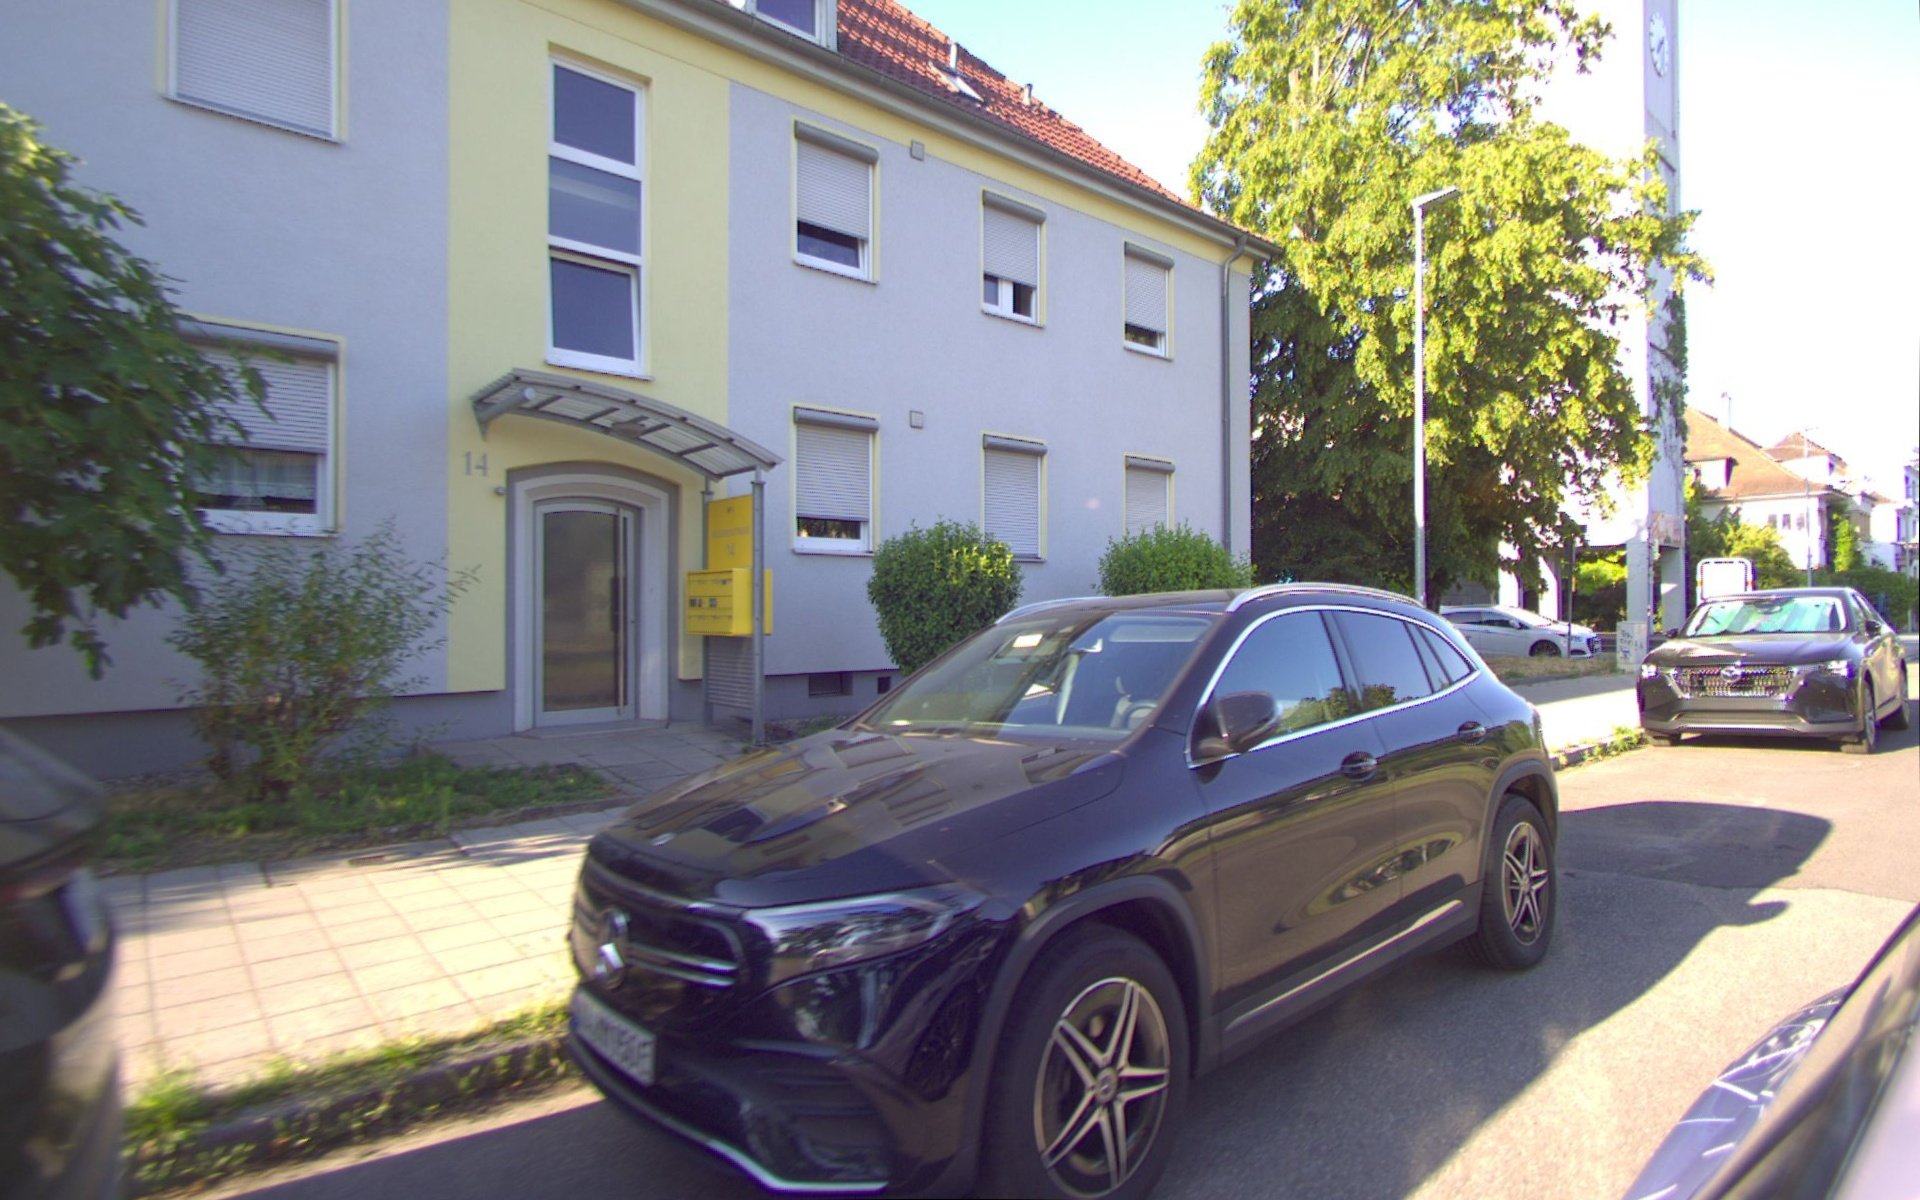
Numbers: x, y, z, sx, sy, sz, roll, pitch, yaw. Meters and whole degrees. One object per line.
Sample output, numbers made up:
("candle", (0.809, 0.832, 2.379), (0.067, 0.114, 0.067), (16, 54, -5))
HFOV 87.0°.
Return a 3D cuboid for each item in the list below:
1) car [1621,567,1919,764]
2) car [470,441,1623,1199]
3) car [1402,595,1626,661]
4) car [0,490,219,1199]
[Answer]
("car", (9.299, 0.586, 11.353), (4.944, 1.754, 1.835), (-1, -2, -41))
("car", (0.754, 0.635, 4.020), (4.540, 1.743, 1.936), (1, -3, -41))
("car", (14.656, 0.685, 27.004), (1.968, 1.504, 4.855), (-4, 3, -40))
("car", (-3.324, 0.705, 0.433), (4.734, 1.678, 1.857), (1, -1, -40))
